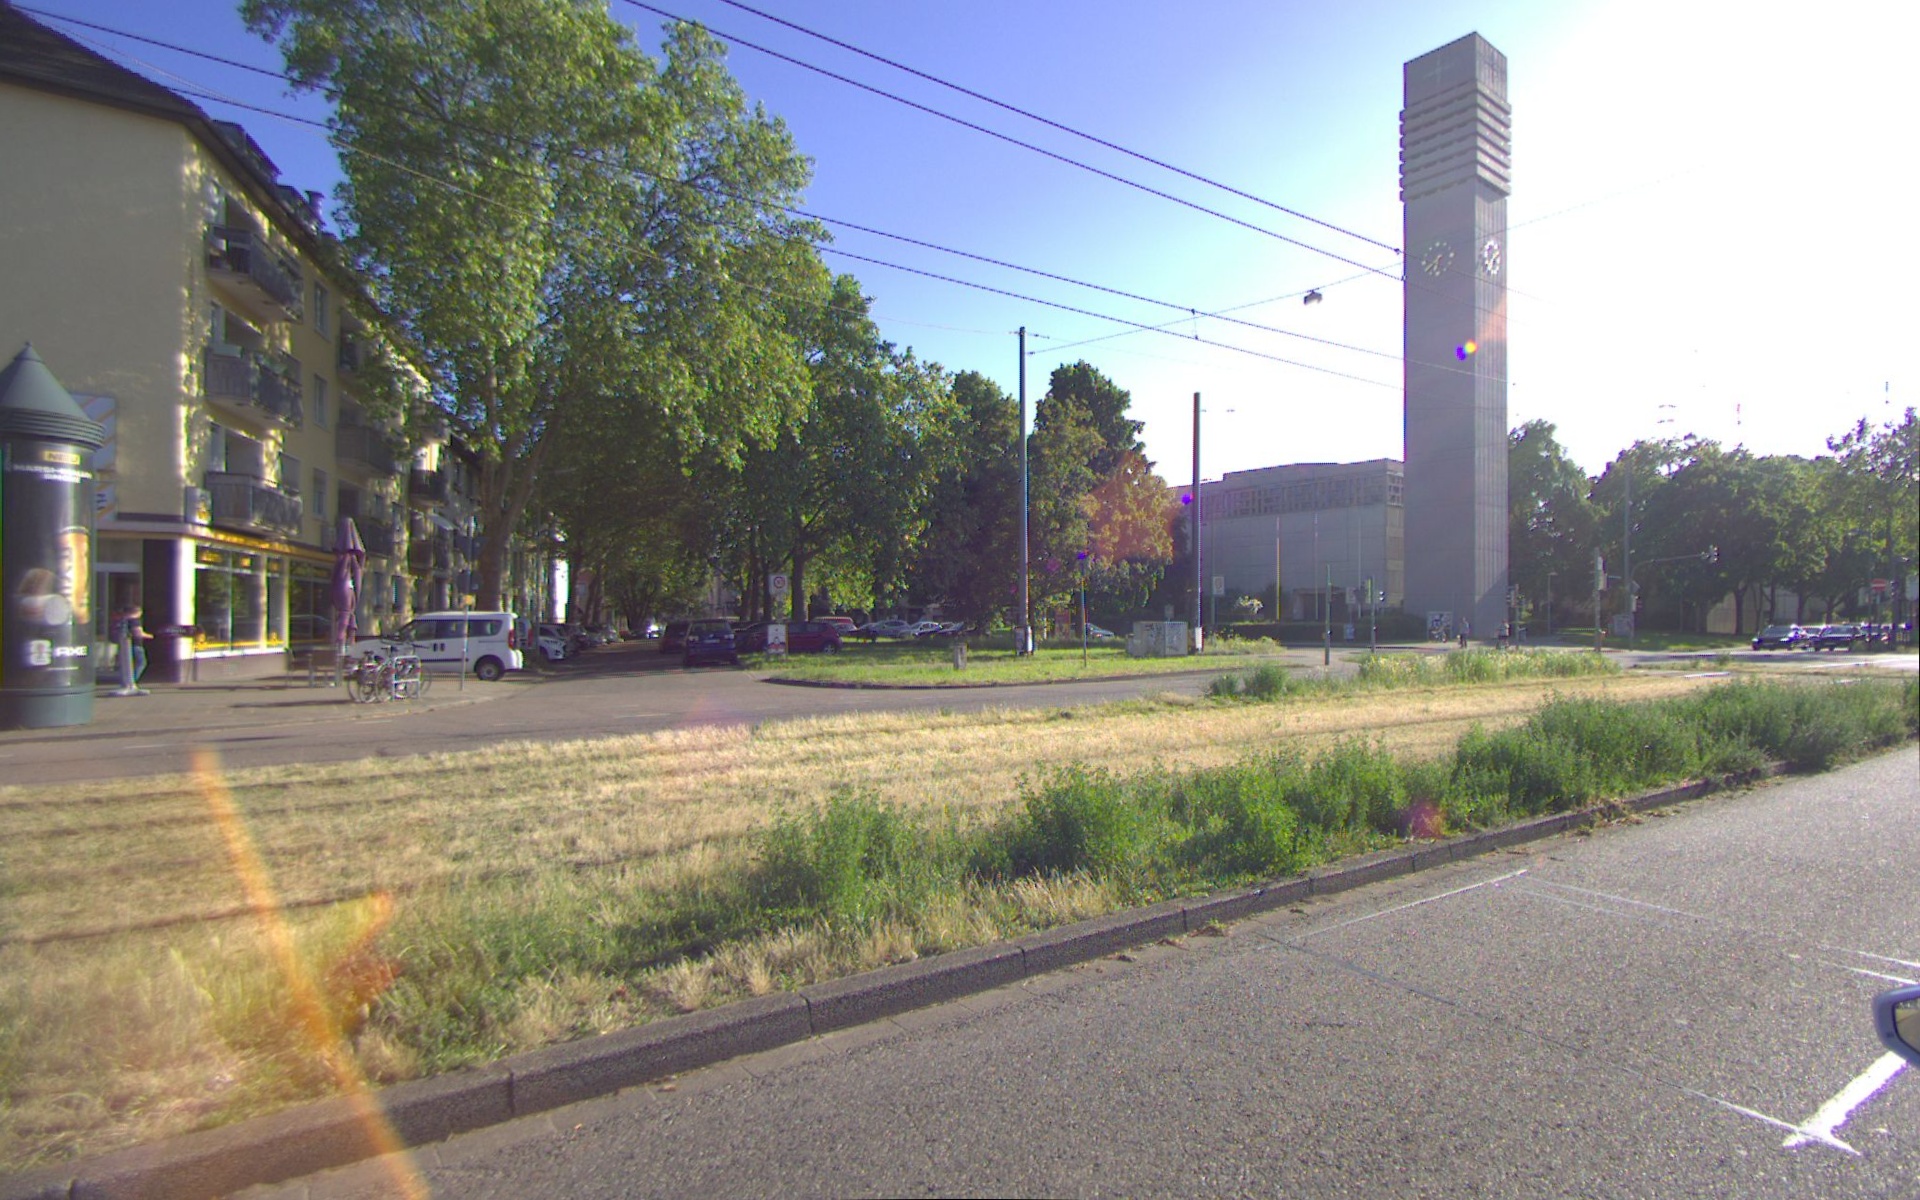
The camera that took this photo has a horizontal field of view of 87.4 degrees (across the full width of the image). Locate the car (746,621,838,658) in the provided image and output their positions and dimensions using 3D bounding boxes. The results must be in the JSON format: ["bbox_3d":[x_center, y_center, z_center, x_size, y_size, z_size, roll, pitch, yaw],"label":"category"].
[{"bbox_3d":[-7.062,1.642,42.078,3.590,1.399,1.639,1,1,-18],"label":"car"}]

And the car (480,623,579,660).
[{"bbox_3d":[-19.738,1.931,46.222,3.934,1.635,1.877,1,-3,-16],"label":"car"}]

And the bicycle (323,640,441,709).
[{"bbox_3d":[-11.139,1.404,19.448,0.509,1.200,2.090,2,-1,21],"label":"bicycle"}]

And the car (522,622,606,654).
[{"bbox_3d":[-21.341,2.047,54.261,3.994,1.687,1.994,1,-2,-16],"label":"car"}]

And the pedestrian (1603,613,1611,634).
[{"bbox_3d":[48.902,1.781,75.925,0.302,1.581,0.432,0,2,-39],"label":"pedestrian"}]

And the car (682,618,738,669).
[{"bbox_3d":[-8.699,1.446,34.757,1.721,1.622,3.986,-1,-1,-16],"label":"car"}]

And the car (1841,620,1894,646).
[{"bbox_3d":[54.542,1.947,60.341,3.876,1.421,1.555,0,1,-36],"label":"car"}]

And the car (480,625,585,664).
[{"bbox_3d":[-18.530,1.935,43.735,3.934,1.635,1.877,1,-3,-16],"label":"car"}]

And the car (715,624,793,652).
[{"bbox_3d":[-11.047,2.007,53.949,3.938,1.400,1.579,-1,-1,-19],"label":"car"}]

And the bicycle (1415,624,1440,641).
[{"bbox_3d":[28.991,2.011,62.281,1.662,1.060,0.489,0,1,-28],"label":"bicycle"}]

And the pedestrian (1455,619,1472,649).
[{"bbox_3d":[28.283,1.898,56.453,0.736,1.689,0.441,0,1,-26],"label":"pedestrian"}]

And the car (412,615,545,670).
[{"bbox_3d":[-17.132,1.536,35.955,3.934,1.867,1.994,1,-3,-16],"label":"car"}]

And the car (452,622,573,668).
[{"bbox_3d":[-17.330,1.750,39.100,3.994,1.687,1.994,1,-2,-16],"label":"car"}]

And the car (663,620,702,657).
[{"bbox_3d":[-13.647,1.835,49.325,1.721,1.706,3.986,-1,-1,-16],"label":"car"}]

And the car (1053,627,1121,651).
[{"bbox_3d":[8.877,2.691,70.469,1.984,1.420,4.662,0,1,-40],"label":"car"}]

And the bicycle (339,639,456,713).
[{"bbox_3d":[-10.664,1.411,19.148,0.509,1.268,2.090,2,0,21],"label":"bicycle"}]

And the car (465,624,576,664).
[{"bbox_3d":[-18.073,1.817,41.482,3.934,1.590,1.877,1,-3,-16],"label":"car"}]

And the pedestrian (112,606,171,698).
[{"bbox_3d":[-16.725,1.032,20.528,0.678,1.809,0.836,2,2,41],"label":"pedestrian"}]

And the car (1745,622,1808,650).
[{"bbox_3d":[47.605,2.063,58.545,4.318,1.553,1.795,0,-1,-36],"label":"car"}]

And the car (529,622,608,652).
[{"bbox_3d":[-22.365,2.110,57.515,3.994,1.687,1.994,1,-2,-16],"label":"car"}]

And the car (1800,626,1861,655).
[{"bbox_3d":[49.303,2.258,56.878,4.318,1.553,1.676,0,-1,-36],"label":"car"}]

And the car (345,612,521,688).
[{"bbox_3d":[-14.039,1.287,27.030,3.941,1.851,1.990,1,1,-21],"label":"car"}]

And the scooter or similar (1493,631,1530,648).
[{"bbox_3d":[30.188,2.147,54.962,1.714,0.911,0.561,-1,-1,40],"label":"scooter or similar"}]
